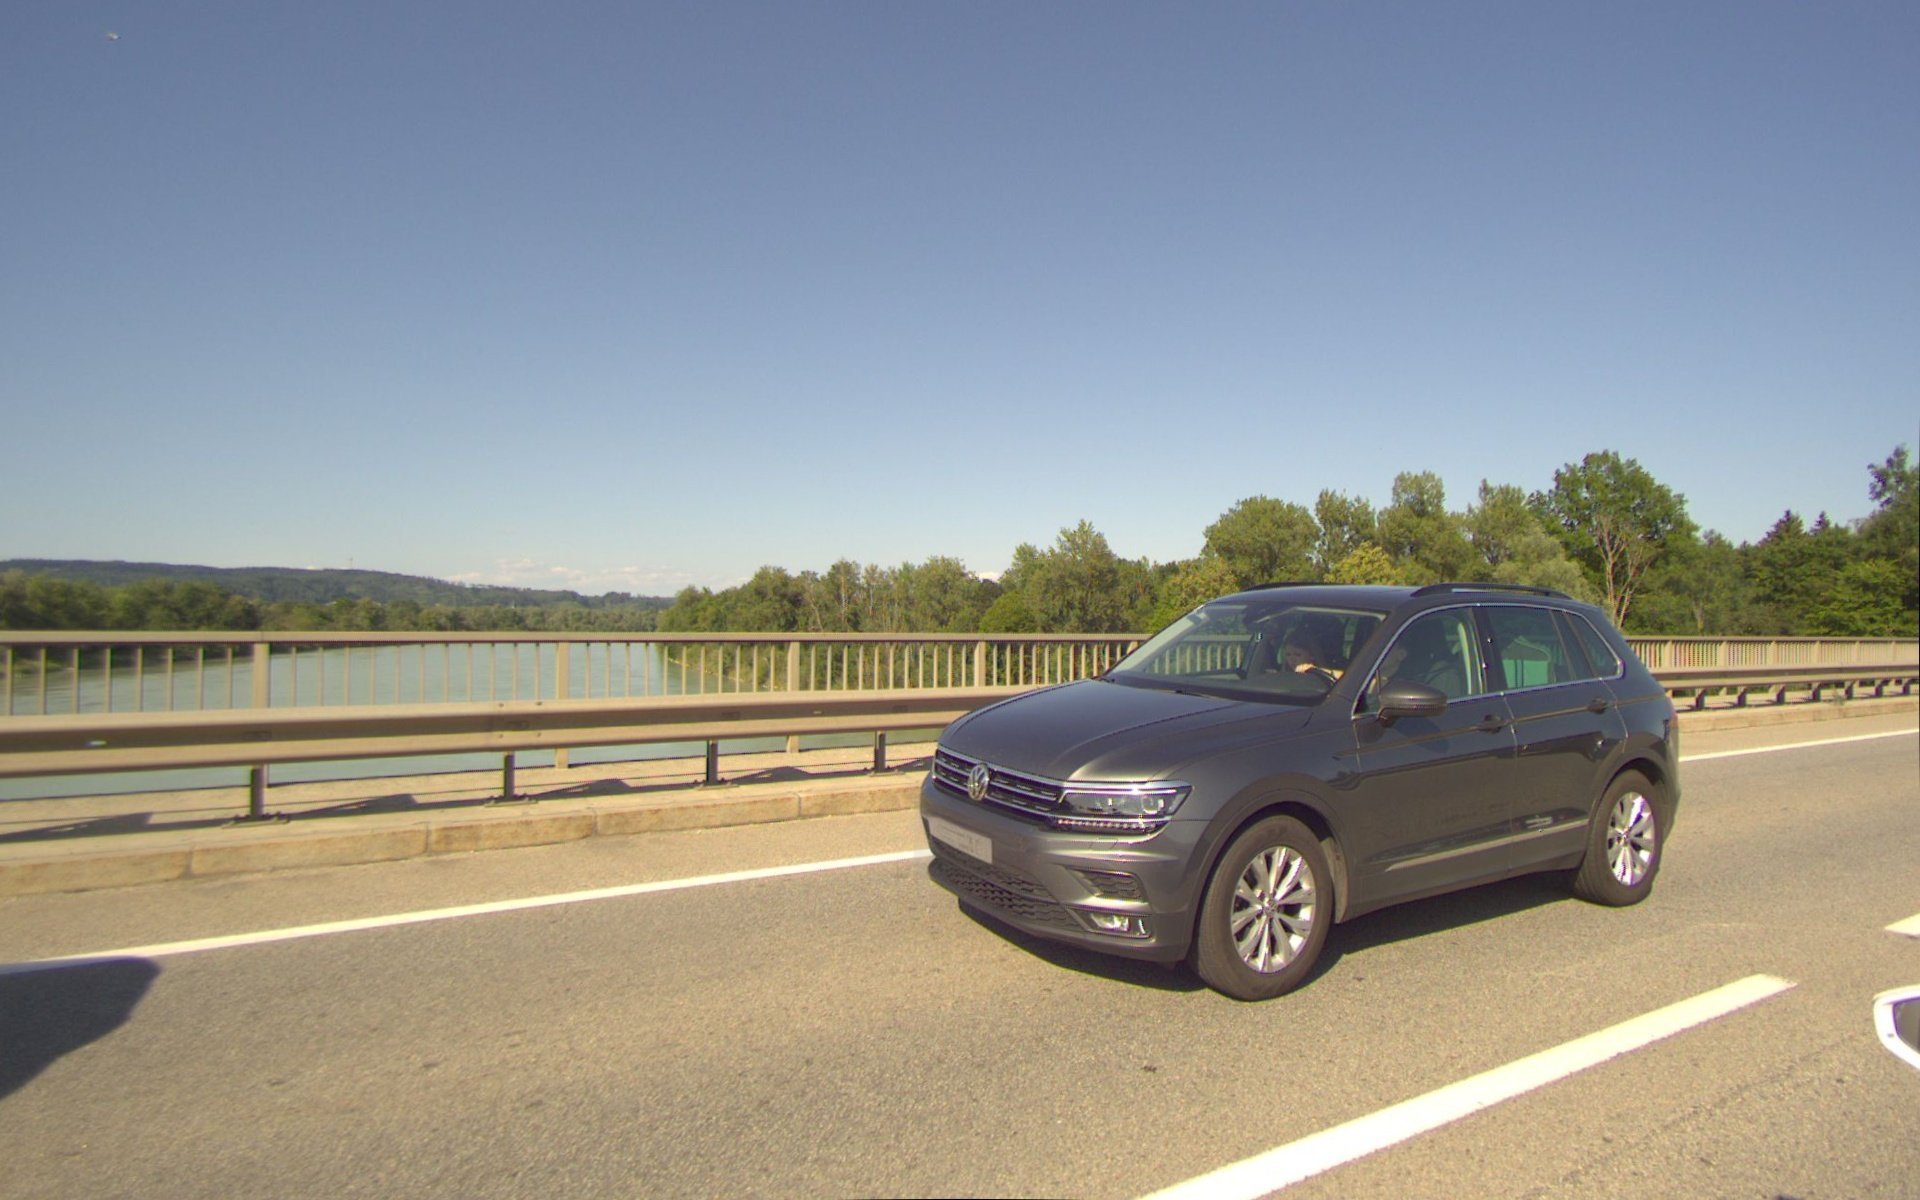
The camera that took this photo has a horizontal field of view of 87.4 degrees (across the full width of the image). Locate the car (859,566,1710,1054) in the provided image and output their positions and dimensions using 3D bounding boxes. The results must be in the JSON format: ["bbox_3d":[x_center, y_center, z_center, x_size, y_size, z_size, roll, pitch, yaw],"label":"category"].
[{"bbox_3d":[1.793,0.726,5.190,4.224,1.605,1.865,1,0,-31],"label":"car"}]
